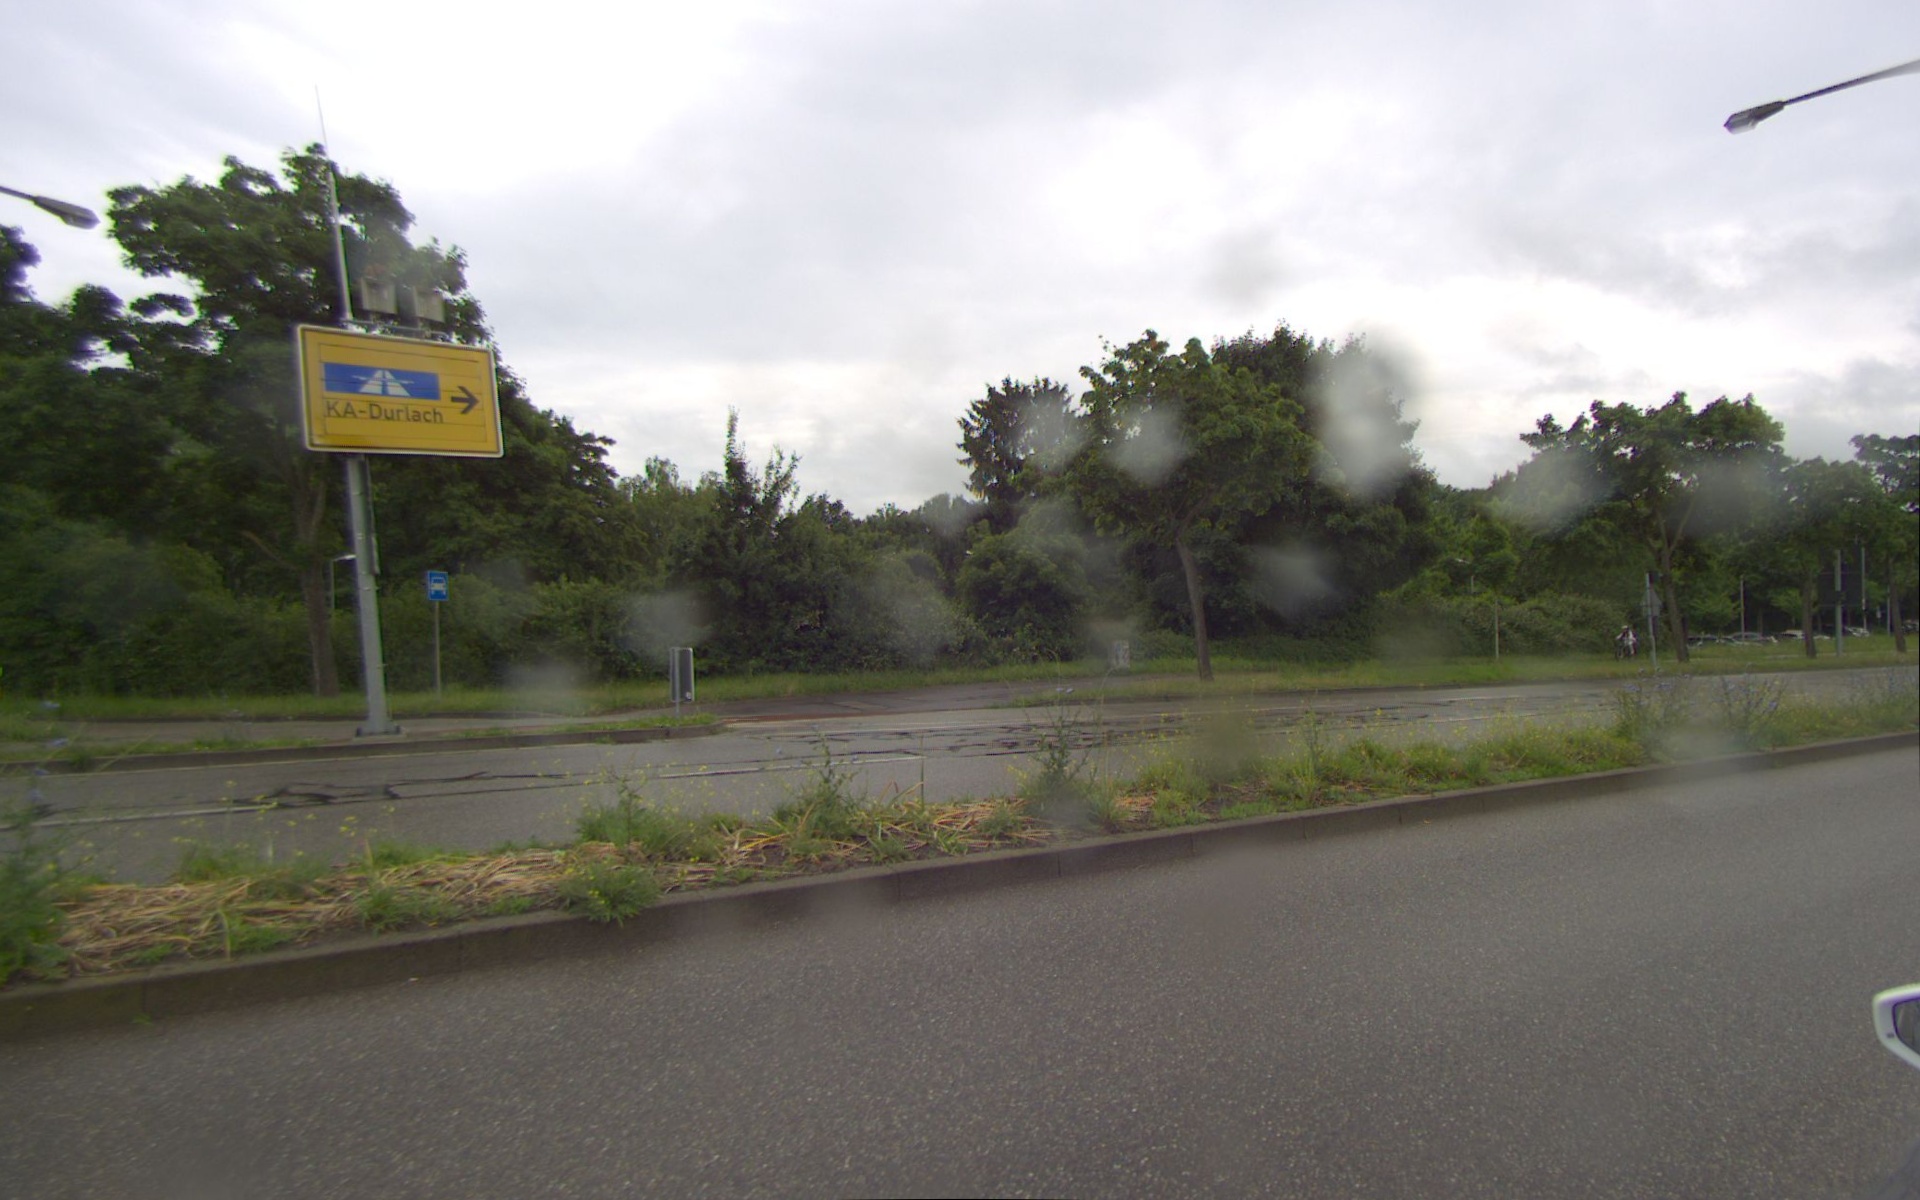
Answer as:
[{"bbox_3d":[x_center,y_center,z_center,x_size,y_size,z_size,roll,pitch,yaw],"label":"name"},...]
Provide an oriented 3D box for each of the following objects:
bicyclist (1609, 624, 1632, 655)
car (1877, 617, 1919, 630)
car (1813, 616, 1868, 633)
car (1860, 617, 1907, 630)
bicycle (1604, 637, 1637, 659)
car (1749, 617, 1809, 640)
[{"bbox_3d":[28.832,1.705,43.828,0.799,1.320,0.519,1,0,-31],"label":"bicyclist"},{"bbox_3d":[111.078,2.791,118.749,1.511,1.471,3.806,0,-1,-38],"label":"car"},{"bbox_3d":[89.279,2.439,101.868,1.894,1.662,3.957,0,-1,-38],"label":"car"},{"bbox_3d":[105.011,2.711,114.216,1.475,1.445,3.706,0,-1,-38],"label":"car"},{"bbox_3d":[28.822,2.081,43.828,1.615,0.897,0.519,1,0,-31],"label":"bicycle"},{"bbox_3d":[75.182,2.568,92.231,1.982,2.040,3.957,0,-1,-38],"label":"car"}]
